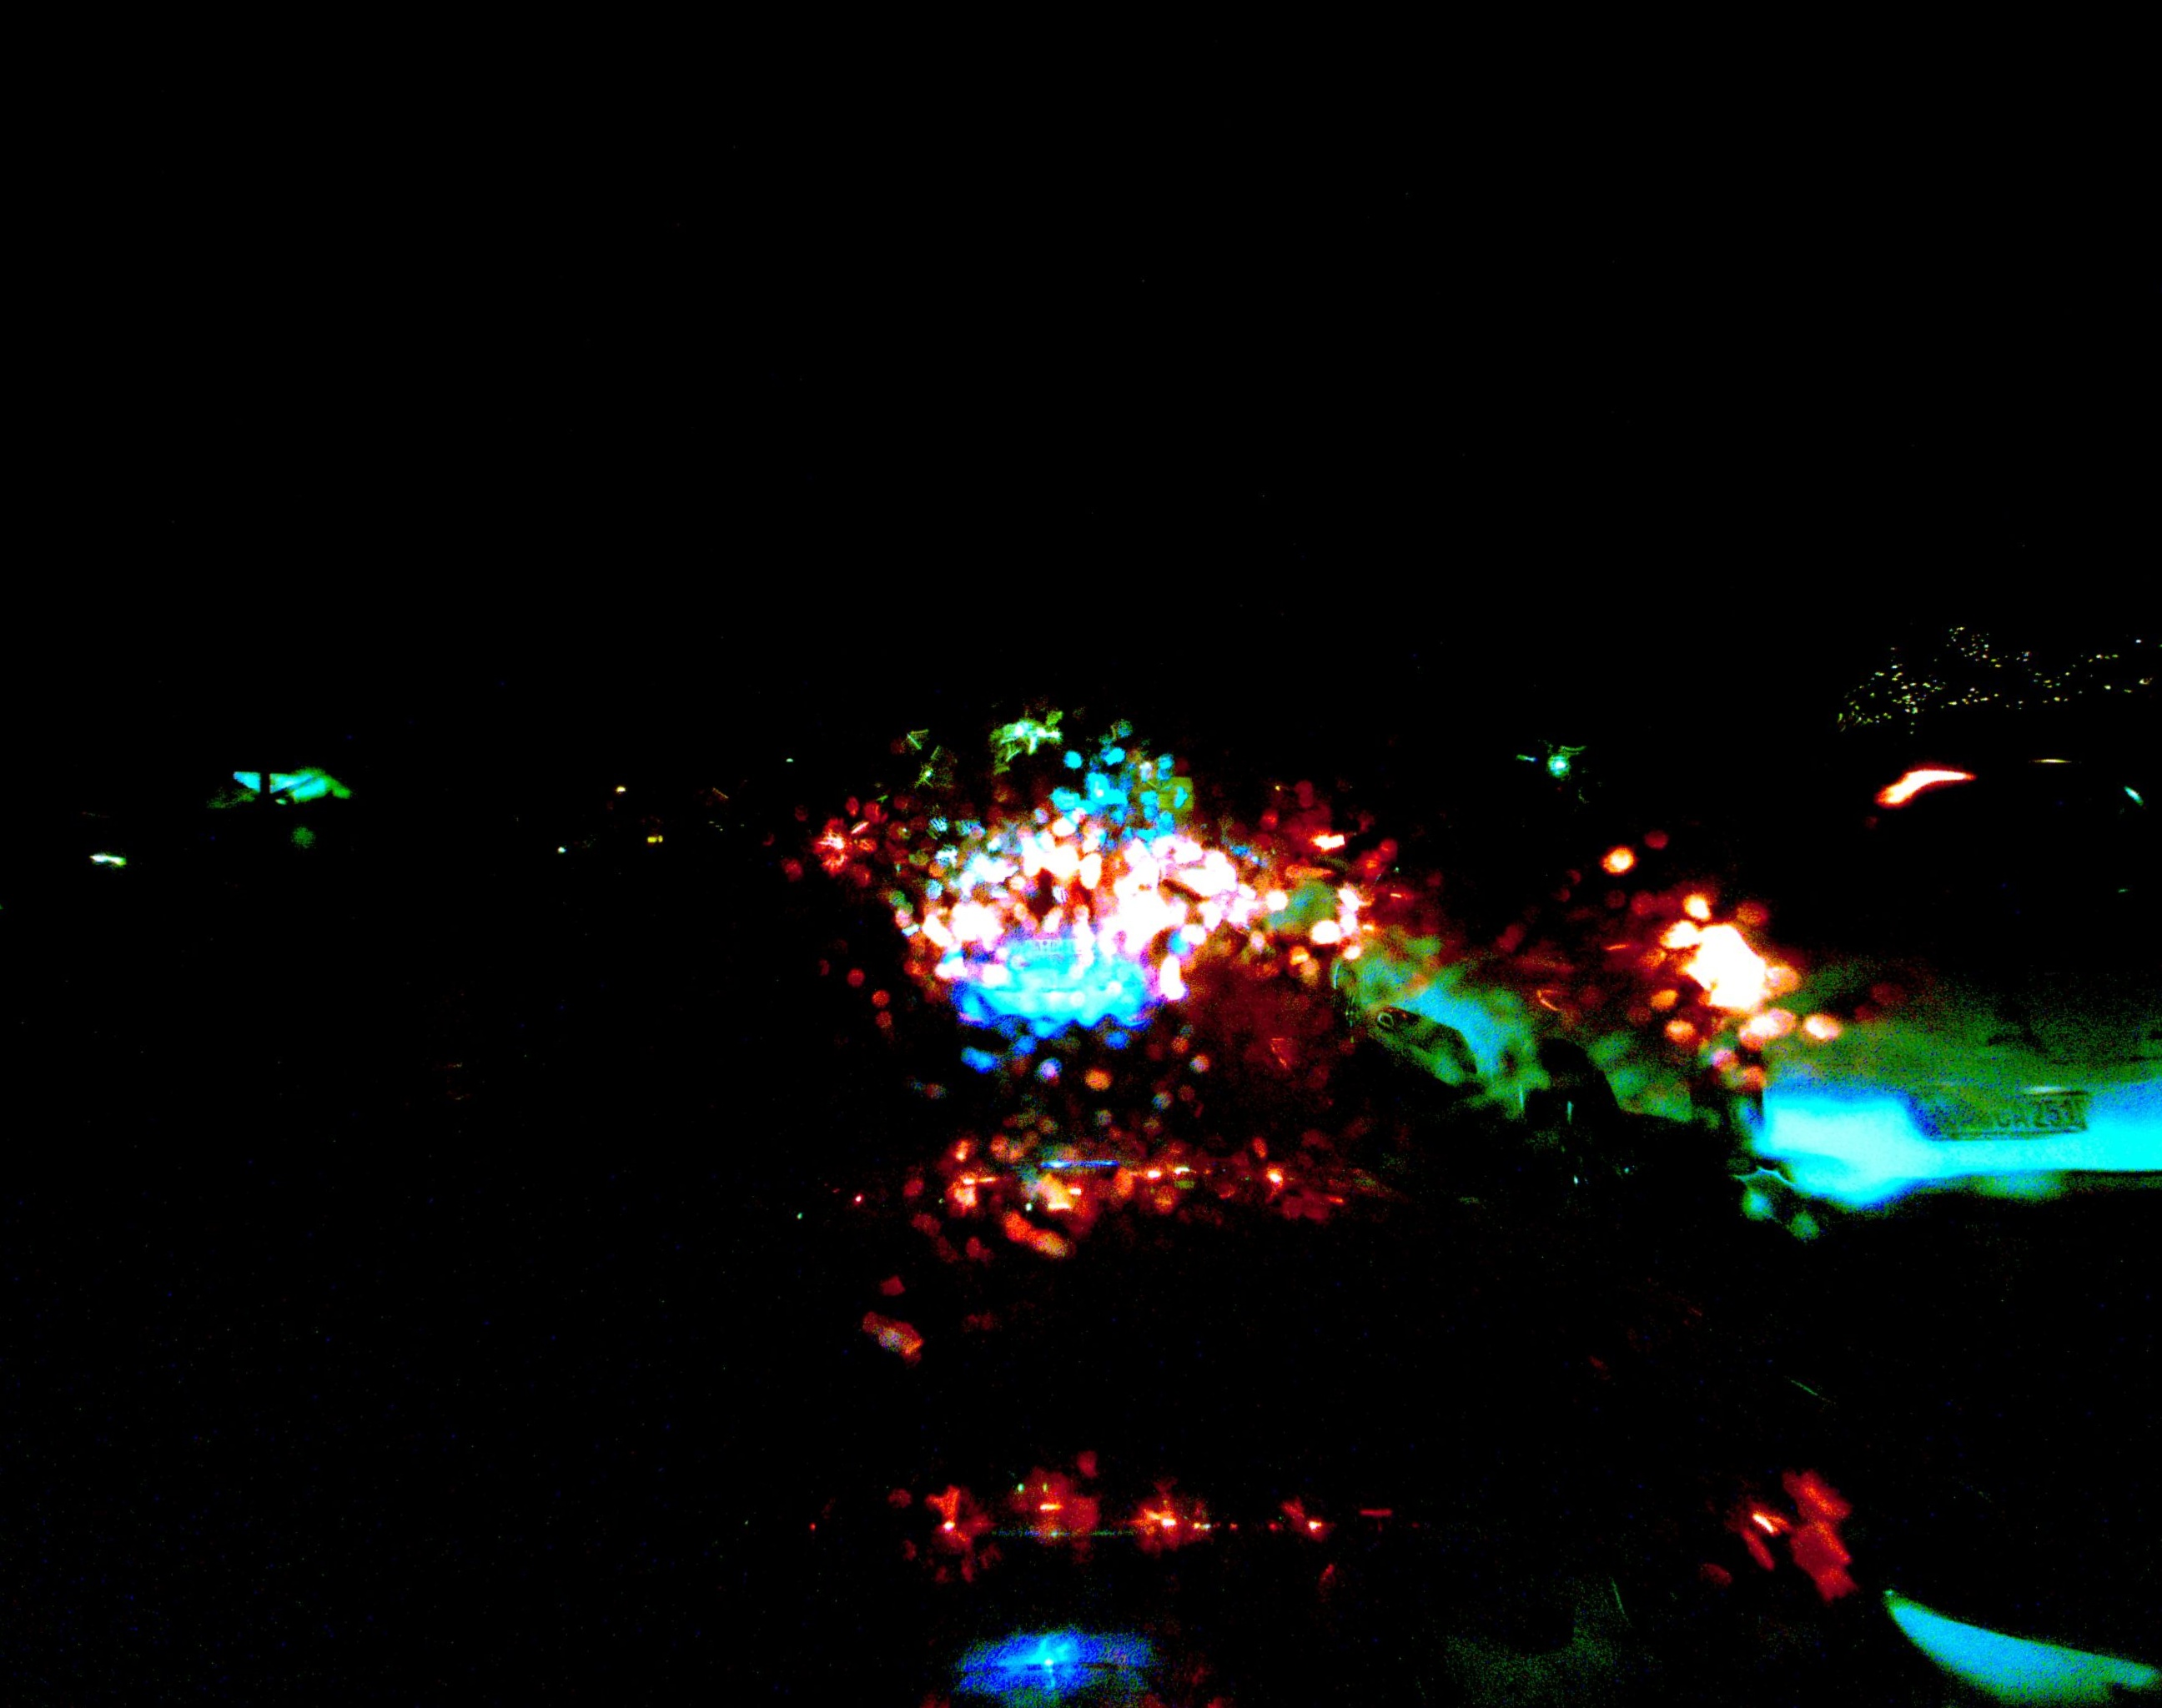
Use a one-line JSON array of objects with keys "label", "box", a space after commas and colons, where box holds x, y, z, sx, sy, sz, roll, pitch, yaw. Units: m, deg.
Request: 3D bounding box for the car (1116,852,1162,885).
[{"label": "car", "box": [2.833, 0.692, 40.680, 1.853, 1.544, 3.927, 0, -1, -2]}]

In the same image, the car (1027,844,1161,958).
[{"label": "car", "box": [0.251, 0.713, 14.077, 1.986, 1.684, 4.001, 0, -1, 2]}]

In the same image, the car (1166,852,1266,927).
[{"label": "car", "box": [3.290, 0.826, 20.604, 1.986, 1.718, 4.001, 0, -1, 2]}]

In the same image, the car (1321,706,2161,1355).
[{"label": "car", "box": [2.838, 0.523, 4.521, 1.845, 1.865, 4.342, 0, -1, 2]}]

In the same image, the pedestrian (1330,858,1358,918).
[{"label": "pedestrian", "box": [7.593, 0.962, 23.497, 0.621, 1.701, 0.541, 0, -1, -1]}]

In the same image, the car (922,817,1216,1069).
[{"label": "car", "box": [-0.058, 0.626, 7.811, 2.008, 1.717, 4.451, 0, -1, 0]}]

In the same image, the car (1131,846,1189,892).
[{"label": "car", "box": [3.200, 0.594, 33.591, 1.987, 1.773, 3.999, 0, -1, 0]}]

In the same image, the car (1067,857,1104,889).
[{"label": "car", "box": [0.202, 1.105, 48.298, 1.989, 1.824, 3.995, 0, -1, -3]}]

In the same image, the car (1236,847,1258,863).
[{"label": "car", "box": [19.111, 0.122, 93.794, 1.857, 1.646, 3.965, -3, -1, 2]}]

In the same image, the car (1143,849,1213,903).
[{"label": "car", "box": [3.133, 0.689, 27.116, 1.986, 1.670, 4.001, 0, -1, 2]}]

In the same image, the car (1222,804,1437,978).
[{"label": "car", "box": [3.291, 0.455, 11.652, 1.961, 2.047, 4.001, 0, -1, 2]}]
